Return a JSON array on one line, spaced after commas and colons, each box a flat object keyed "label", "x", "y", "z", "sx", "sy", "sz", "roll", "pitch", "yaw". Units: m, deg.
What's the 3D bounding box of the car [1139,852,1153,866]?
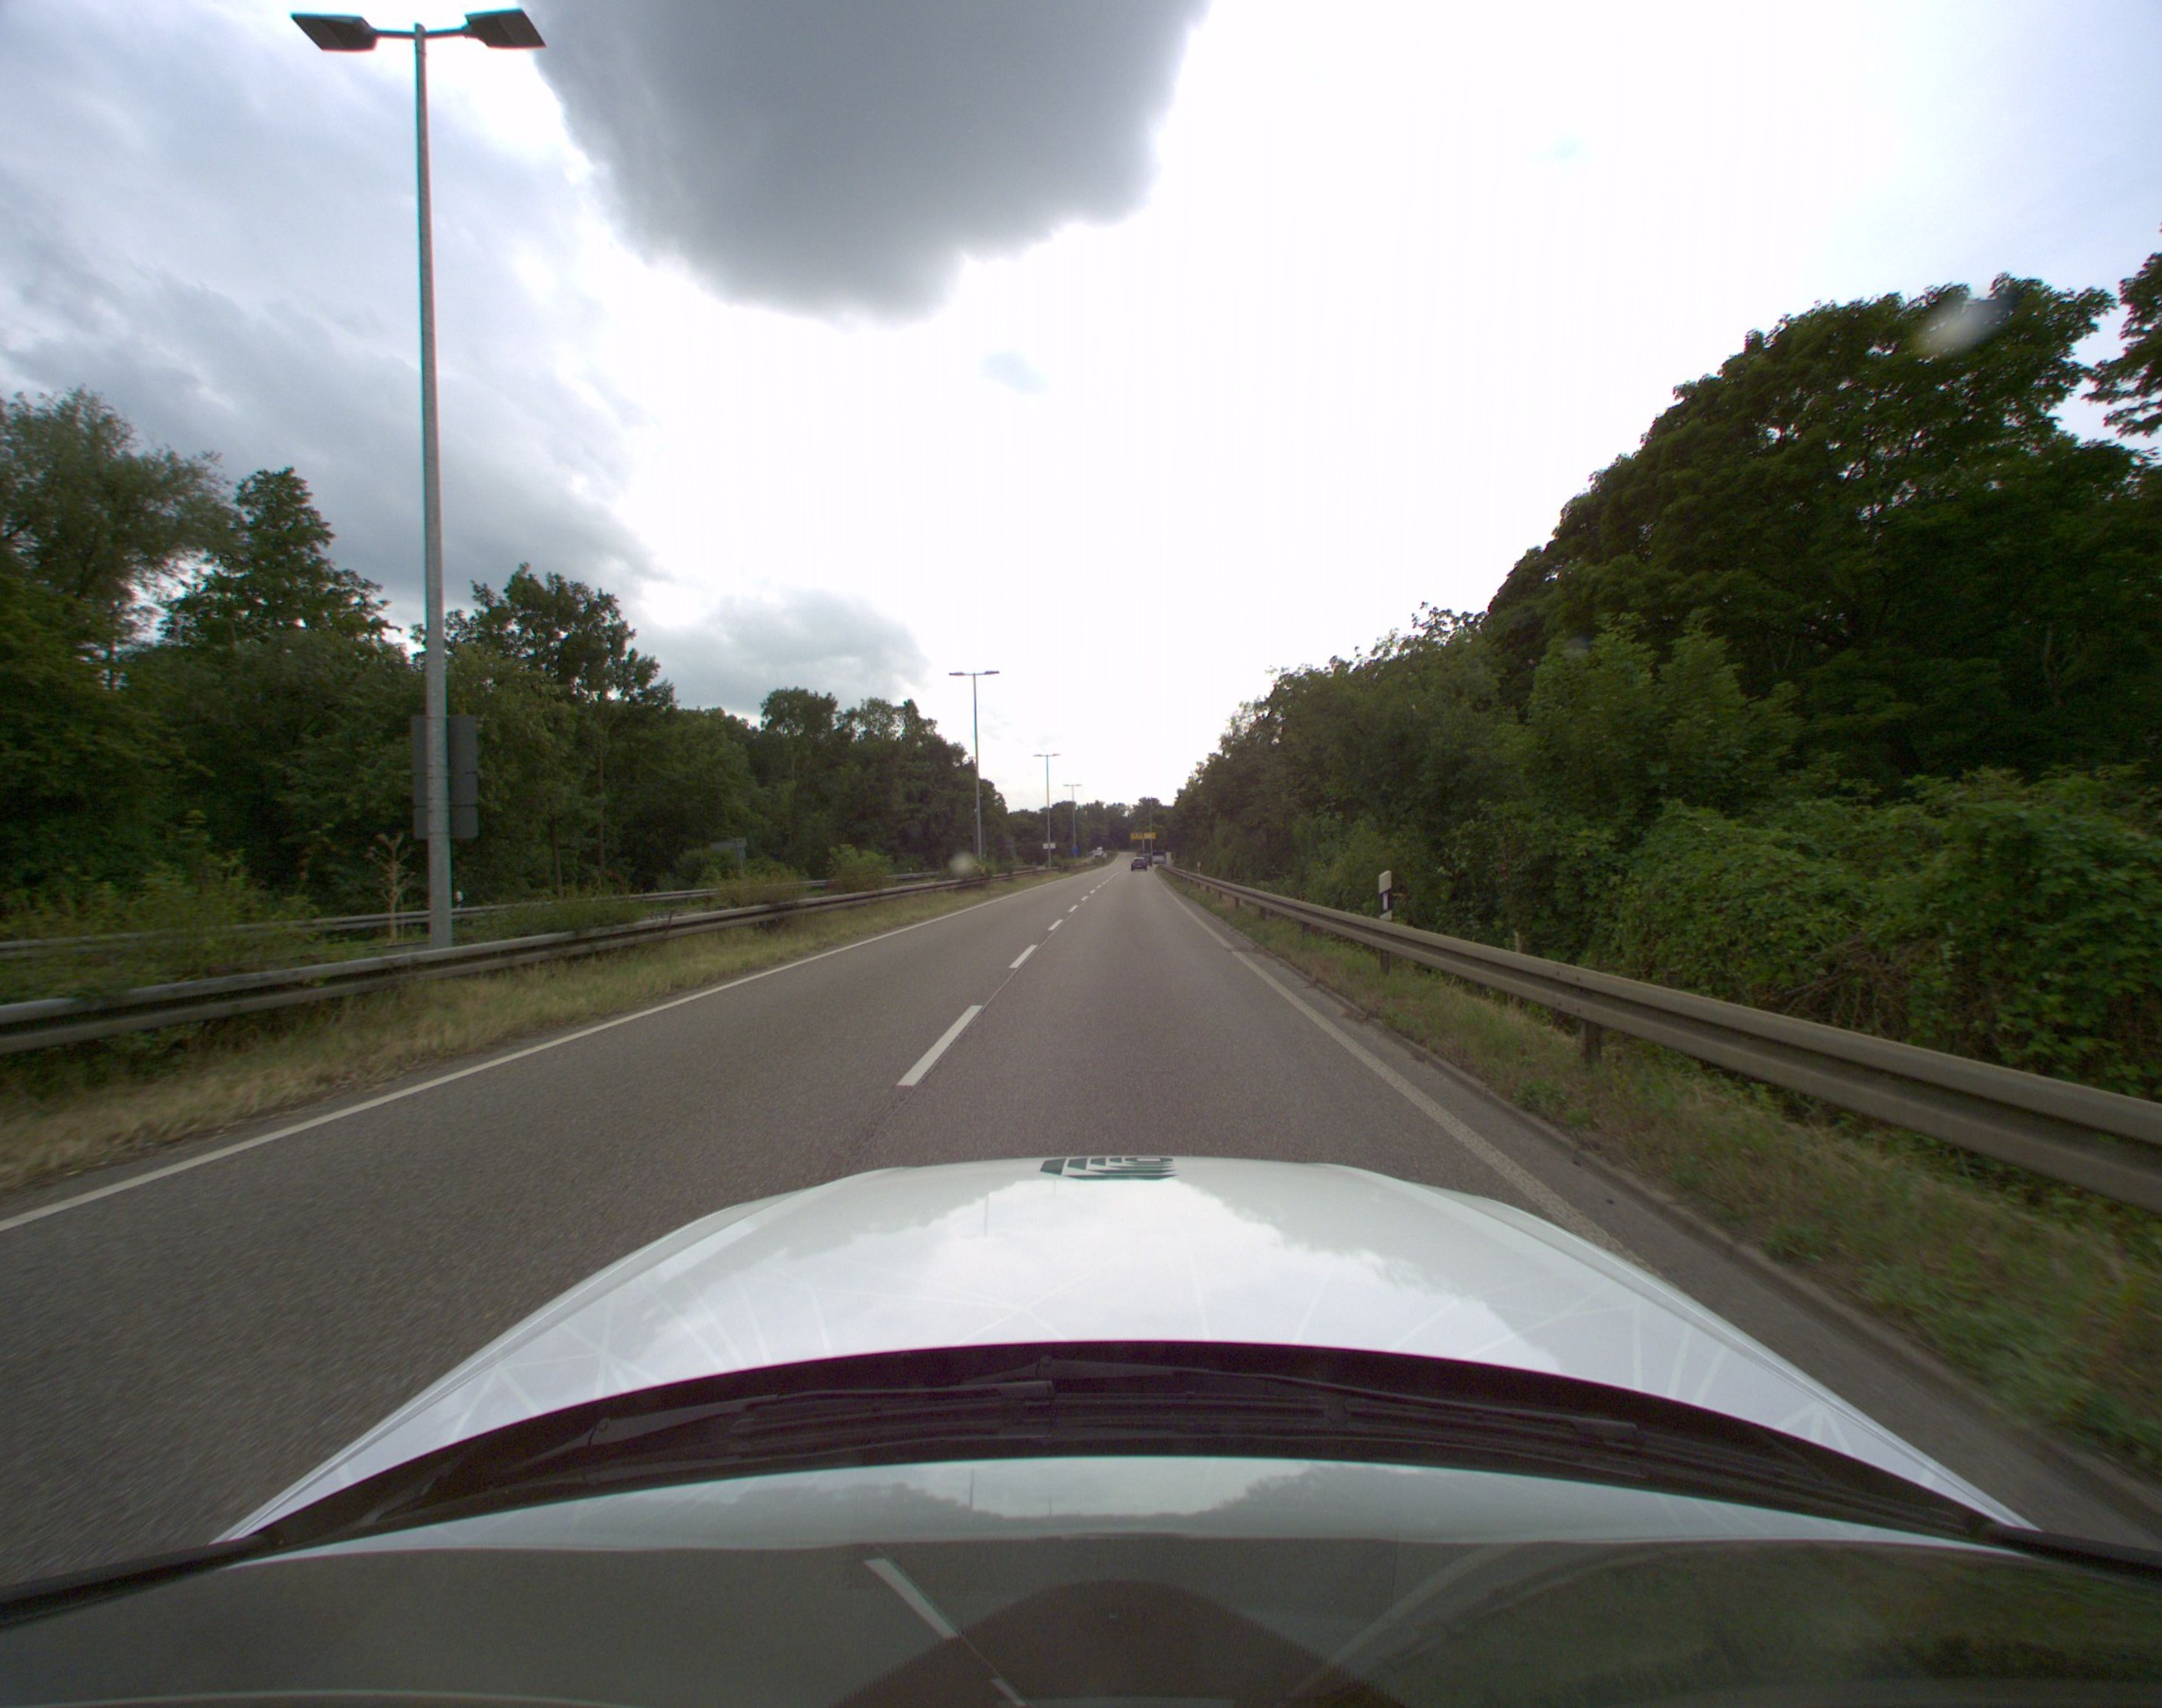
[{"label": "car", "x": 10.482, "y": 0.803, "z": 130.869, "sx": 2.138, "sy": 2.014, "sz": 4.005, "roll": -1, "pitch": -2, "yaw": 5}]

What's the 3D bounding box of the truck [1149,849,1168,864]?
[{"label": "truck", "x": 16.150, "y": 0.622, "z": 168.727, "sx": 2.961, "sy": 2.885, "sz": 8.015, "roll": -2, "pitch": -2, "yaw": 11}]

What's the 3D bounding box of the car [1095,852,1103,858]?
[{"label": "car", "x": 5.435, "y": 0.269, "z": 245.988, "sx": 1.984, "sy": 1.847, "sz": 4.006, "roll": -1, "pitch": 1, "yaw": 5}]

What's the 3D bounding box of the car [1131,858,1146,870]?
[{"label": "car", "x": 6.544, "y": 1.145, "z": 92.161, "sx": 1.617, "sy": 1.378, "sz": 4.005, "roll": -1, "pitch": -2, "yaw": 5}]
